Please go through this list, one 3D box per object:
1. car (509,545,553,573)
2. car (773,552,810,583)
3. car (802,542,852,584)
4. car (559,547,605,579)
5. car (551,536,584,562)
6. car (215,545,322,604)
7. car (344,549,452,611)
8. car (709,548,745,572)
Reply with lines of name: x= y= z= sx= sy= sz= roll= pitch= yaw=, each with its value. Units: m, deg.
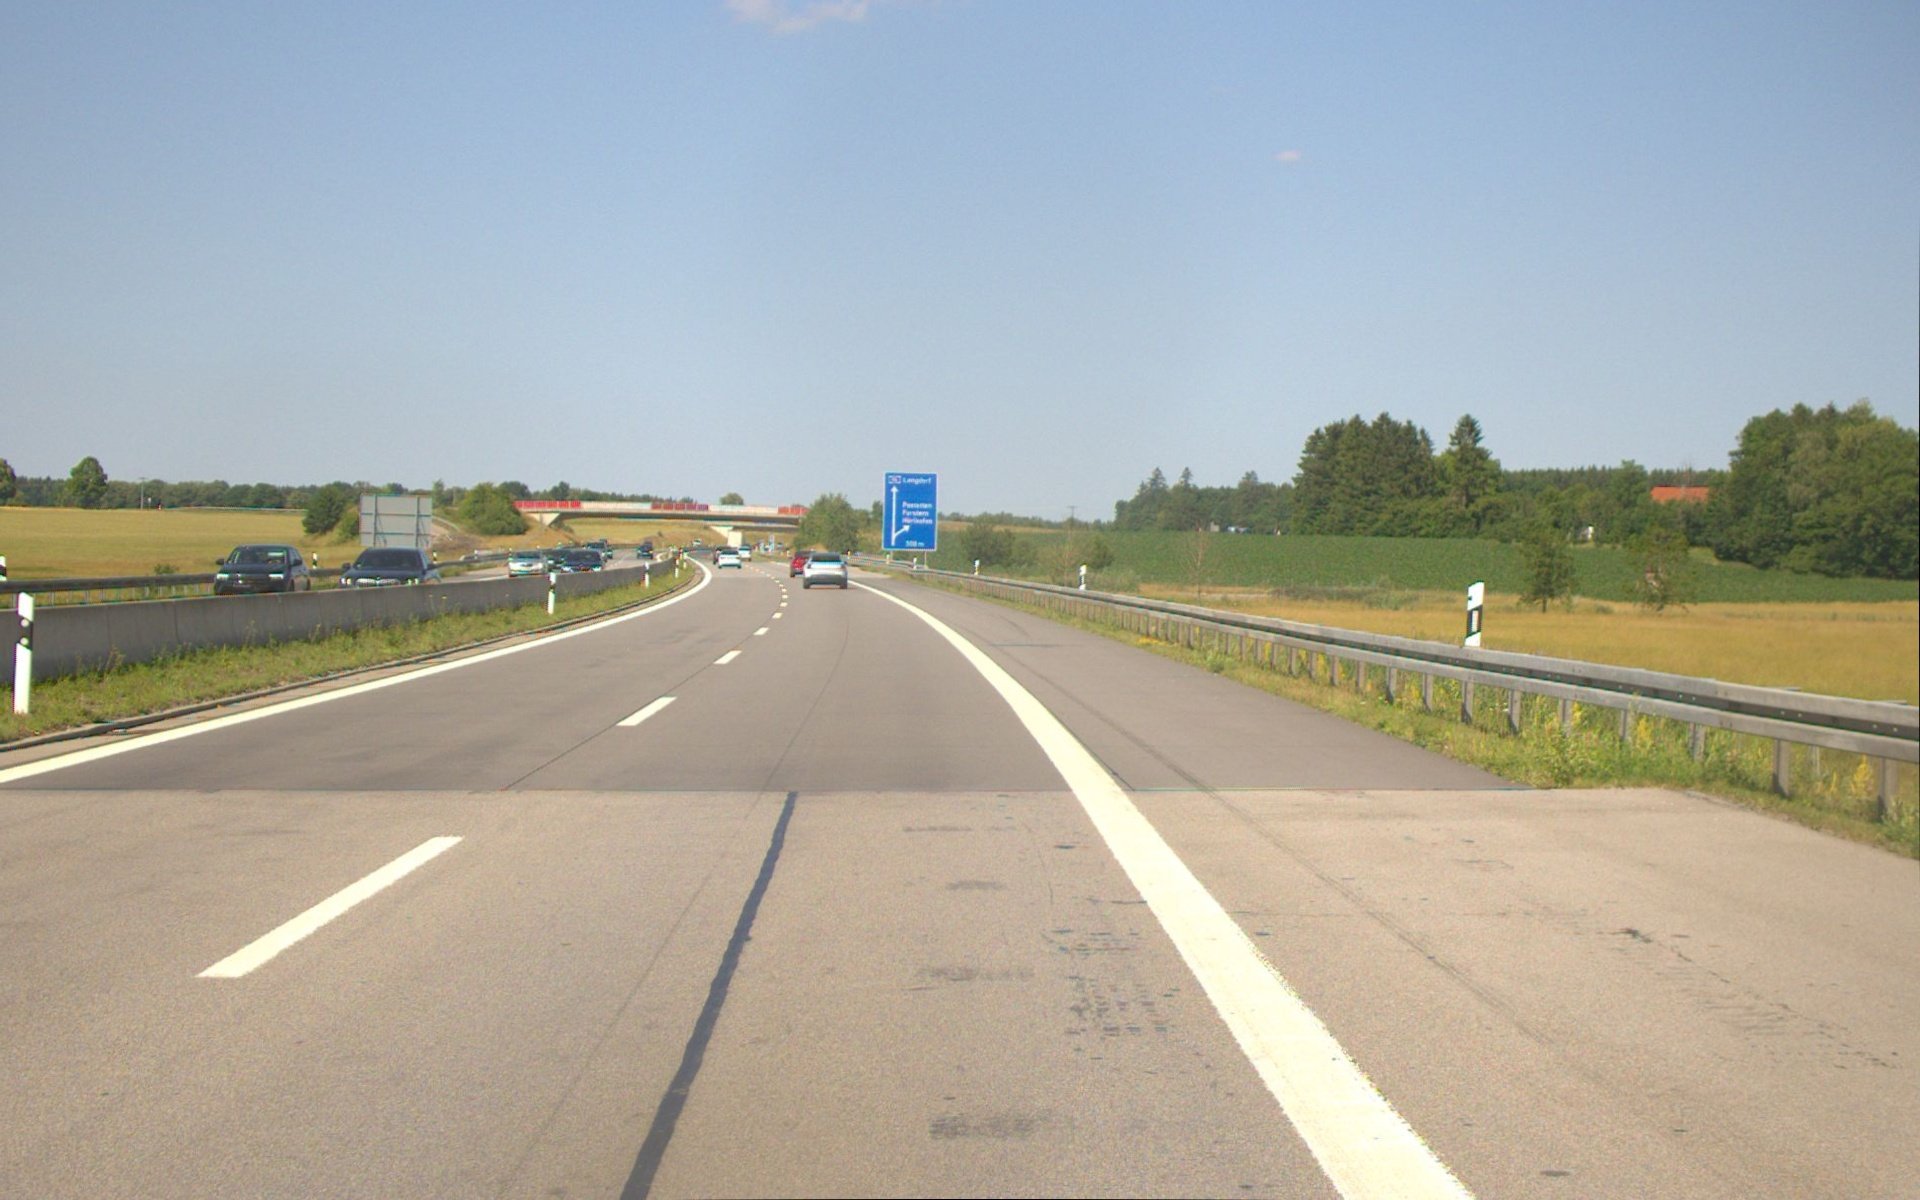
car: x=-21.794 y=-2.087 z=174.760 sx=1.822 sy=1.360 sz=5.296 roll=0 pitch=1 yaw=-3
car: x=-9.691 y=-1.882 z=197.708 sx=1.993 sy=1.725 sz=4.870 roll=1 pitch=1 yaw=-4
car: x=-5.715 y=-1.597 z=147.326 sx=1.993 sy=1.725 sz=4.870 roll=1 pitch=1 yaw=-4
car: x=-16.704 y=-1.657 z=152.055 sx=1.822 sy=1.360 sz=4.661 roll=0 pitch=1 yaw=-4
car: x=-24.677 y=-3.218 z=216.349 sx=1.858 sy=1.579 sz=4.915 roll=0 pitch=1 yaw=-5
car: x=-16.907 y=-0.643 z=84.284 sx=1.822 sy=1.360 sz=4.664 roll=0 pitch=1 yaw=-2
car: x=-12.984 y=-0.494 z=79.712 sx=1.822 sy=1.360 sz=5.198 roll=0 pitch=1 yaw=-2
car: x=-17.722 y=-3.048 z=261.383 sx=1.993 sy=1.725 sz=4.871 roll=1 pitch=1 yaw=-12
